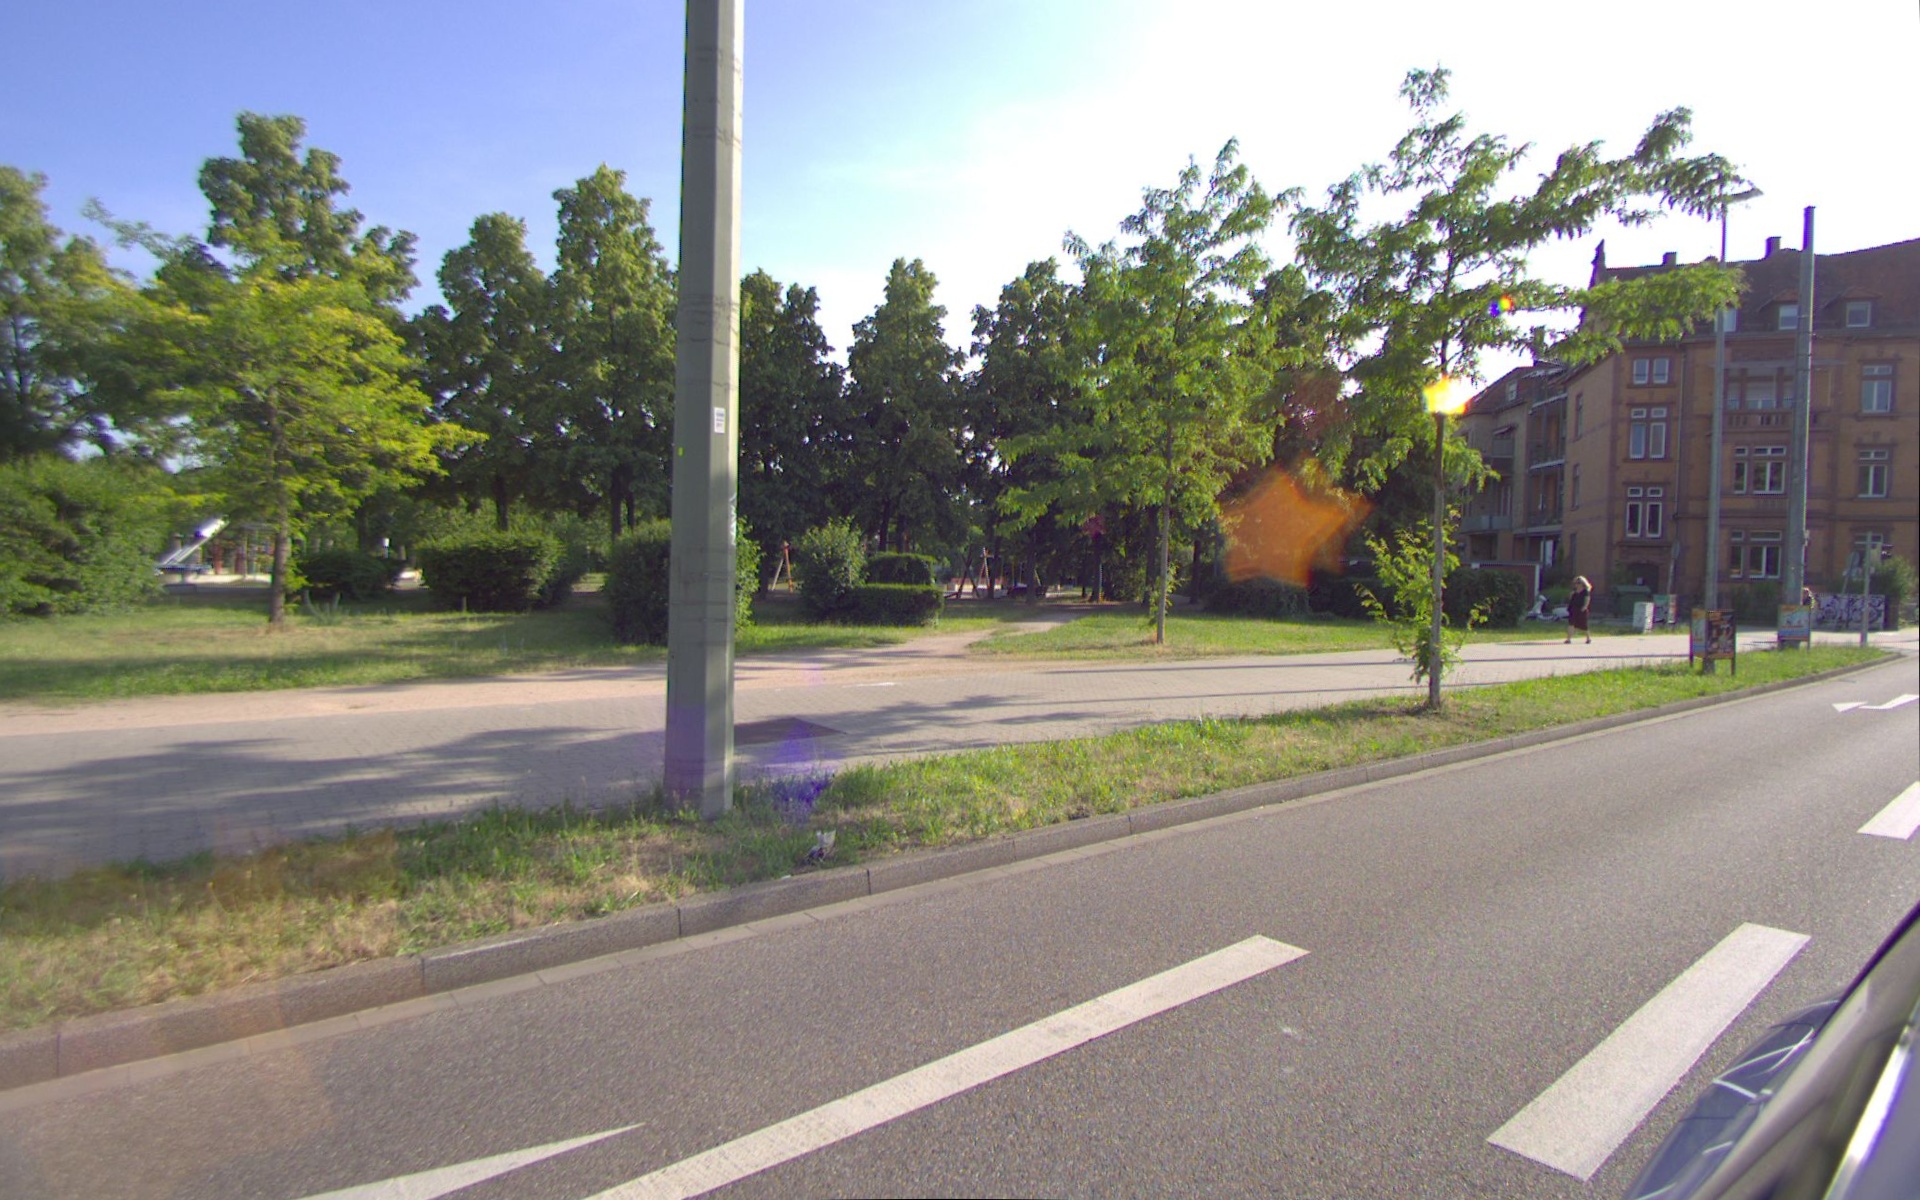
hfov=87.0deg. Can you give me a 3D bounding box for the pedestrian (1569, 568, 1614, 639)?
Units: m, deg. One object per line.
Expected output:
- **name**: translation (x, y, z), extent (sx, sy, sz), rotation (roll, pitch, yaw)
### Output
- **pedestrian**: translation (15.842, 0.083, 25.393), extent (0.538, 1.711, 0.617), rotation (1, 6, -36)

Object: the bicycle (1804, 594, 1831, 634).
- **bicycle**: translation (26.680, 0.418, 31.499), extent (0.481, 1.205, 1.323), rotation (1, 1, 34)

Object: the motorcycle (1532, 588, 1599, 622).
- **motorcycle**: translation (22.273, 0.167, 37.227), extent (0.696, 1.174, 1.997), rotation (0, 1, -45)

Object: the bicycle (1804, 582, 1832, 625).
- **bicycle**: translation (26.658, 0.113, 31.456), extent (0.571, 1.314, 0.680), rotation (1, 1, 35)
